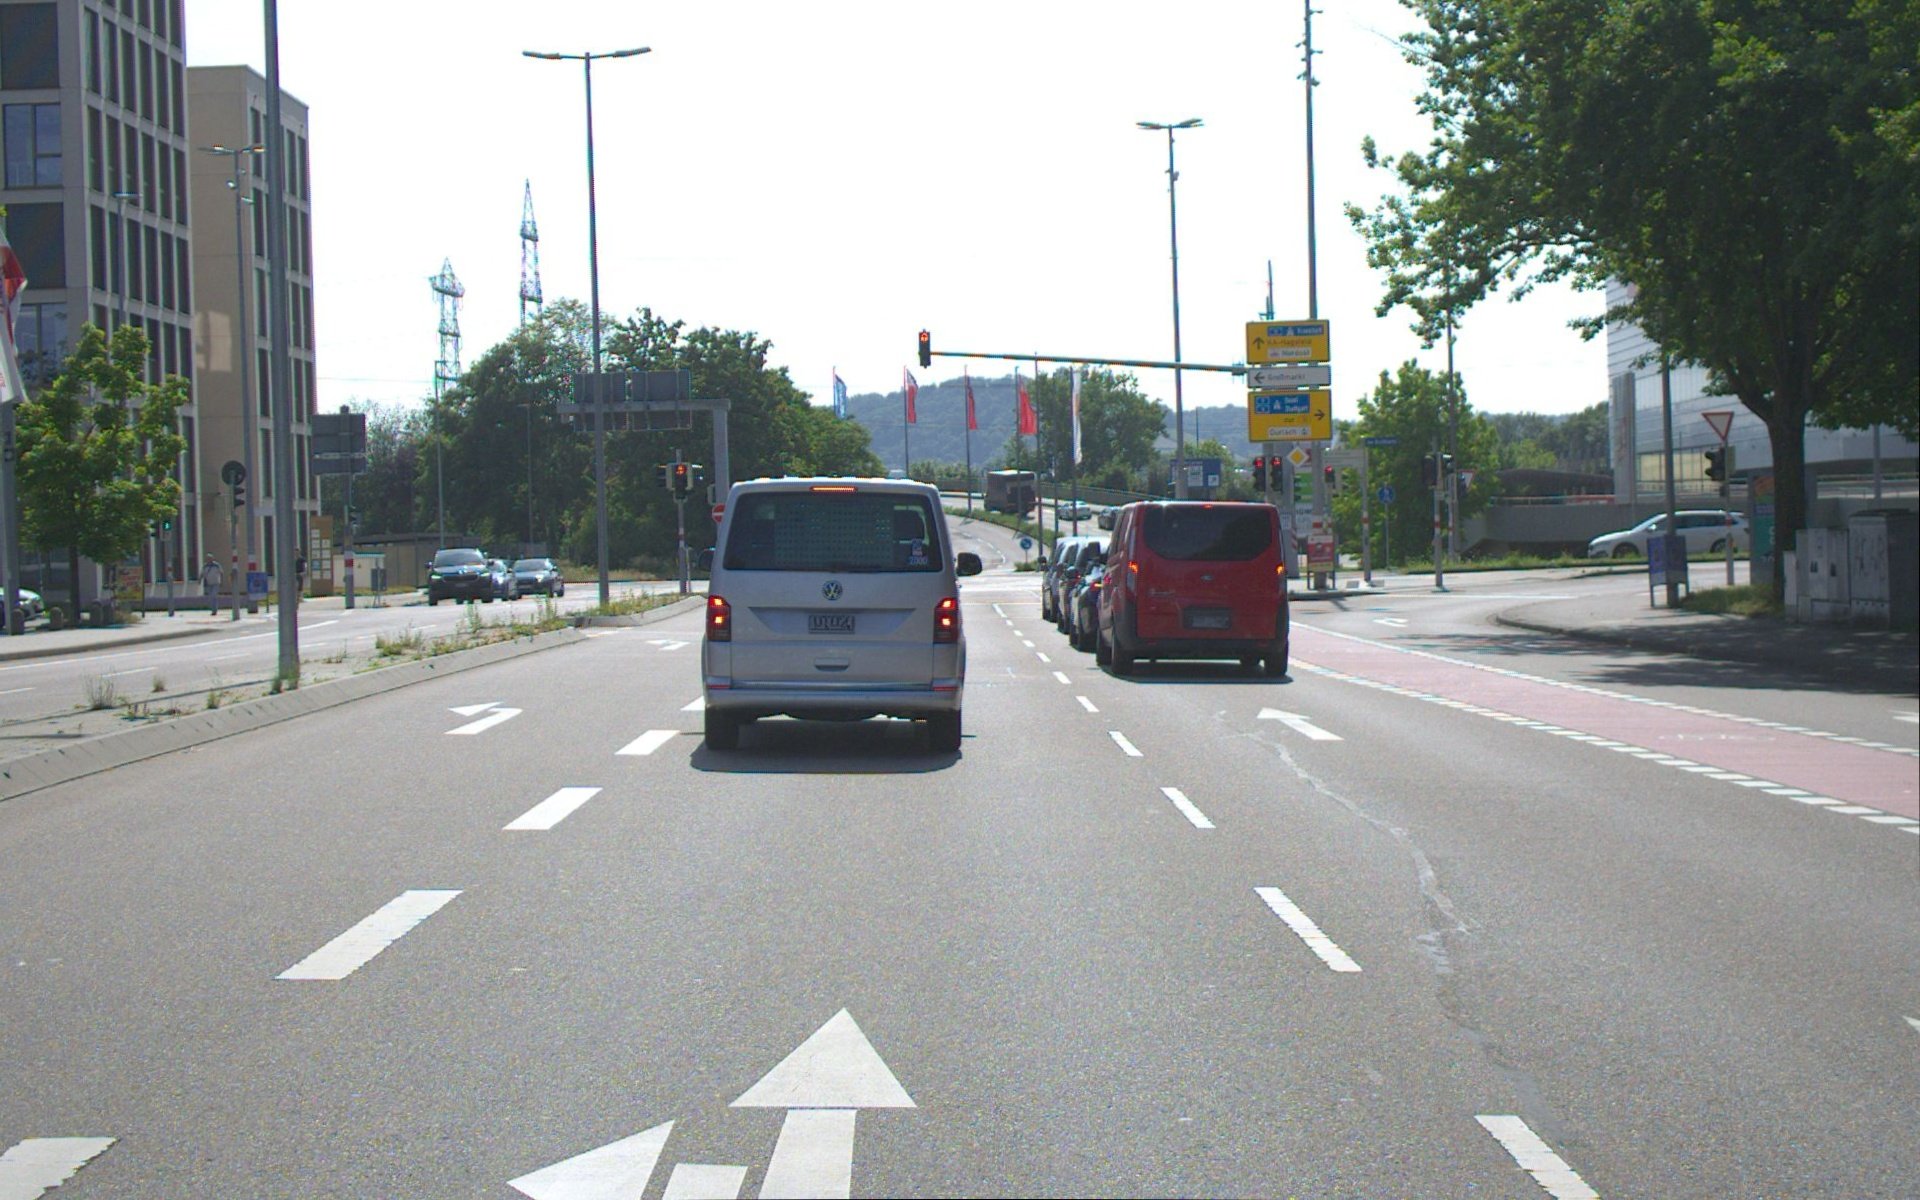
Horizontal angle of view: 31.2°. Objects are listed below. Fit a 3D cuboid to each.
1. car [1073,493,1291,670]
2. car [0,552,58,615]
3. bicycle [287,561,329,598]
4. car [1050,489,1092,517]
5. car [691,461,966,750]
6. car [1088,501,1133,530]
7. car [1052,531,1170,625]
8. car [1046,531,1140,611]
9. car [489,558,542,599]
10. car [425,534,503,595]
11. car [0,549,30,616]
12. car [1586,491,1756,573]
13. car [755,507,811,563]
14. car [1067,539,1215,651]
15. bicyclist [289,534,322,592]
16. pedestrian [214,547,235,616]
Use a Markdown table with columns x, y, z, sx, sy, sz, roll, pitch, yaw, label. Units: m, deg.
| x | y | z | sx | sy | sz | roll | pitch | yaw | label |
| --- | --- | --- | --- | --- | --- | --- | --- | --- | --- |
| 2.539 | -0.262 | 40.578 | 1.967 | 1.961 | 5.126 | 0 | 1 | -3 | car |
| -23.132 | -0.291 | 80.328 | 3.594 | 1.353 | 1.640 | -5 | 2 | 1 | car |
| -17.438 | -0.564 | 91.969 | 0.680 | 0.937 | 1.973 | -2 | 1 | 1 | bicycle |
| 8.151 | -7.152 | 253.423 | 1.993 | 2.007 | 4.001 | 0 | 1 | -15 | car |
| -0.918 | -0.006 | 25.615 | 1.884 | 1.983 | 4.000 | 0 | 1 | 0 | car |
| 10.538 | -5.910 | 241.061 | 1.993 | 2.007 | 4.001 | 0 | 1 | -15 | car |
| 2.481 | -0.401 | 57.412 | 1.746 | 1.511 | 4.078 | 0 | 1 | -1 | car |
| 2.465 | -0.559 | 64.434 | 1.578 | 1.453 | 3.786 | 0 | 1 | -1 | car |
| -16.726 | -0.824 | 129.499 | 1.576 | 1.404 | 4.380 | -2 | 1 | -3 | car |
| -14.456 | -1.059 | 100.401 | 1.738 | 1.613 | 4.210 | -4 | 1 | -3 | car |
| -23.285 | -0.248 | 77.756 | 3.874 | 1.459 | 1.868 | -5 | 2 | 2 | car |
| 19.879 | -1.896 | 96.234 | 4.402 | 1.987 | 1.481 | -4 | 1 | 5 | car |
| -8.566 | -3.129 | 165.430 | 2.405 | 2.552 | 6.897 | -2 | 1 | -5 | car |
| 2.450 | -0.105 | 47.375 | 1.746 | 1.453 | 4.476 | 0 | 1 | -1 | car |
| -17.448 | -0.989 | 91.691 | 0.618 | 1.521 | 1.036 | -2 | 1 | 1 | bicyclist |
| -21.477 | -0.543 | 100.330 | 0.558 | 2.007 | 0.576 | 0 | 1 | -8 | pedestrian |
